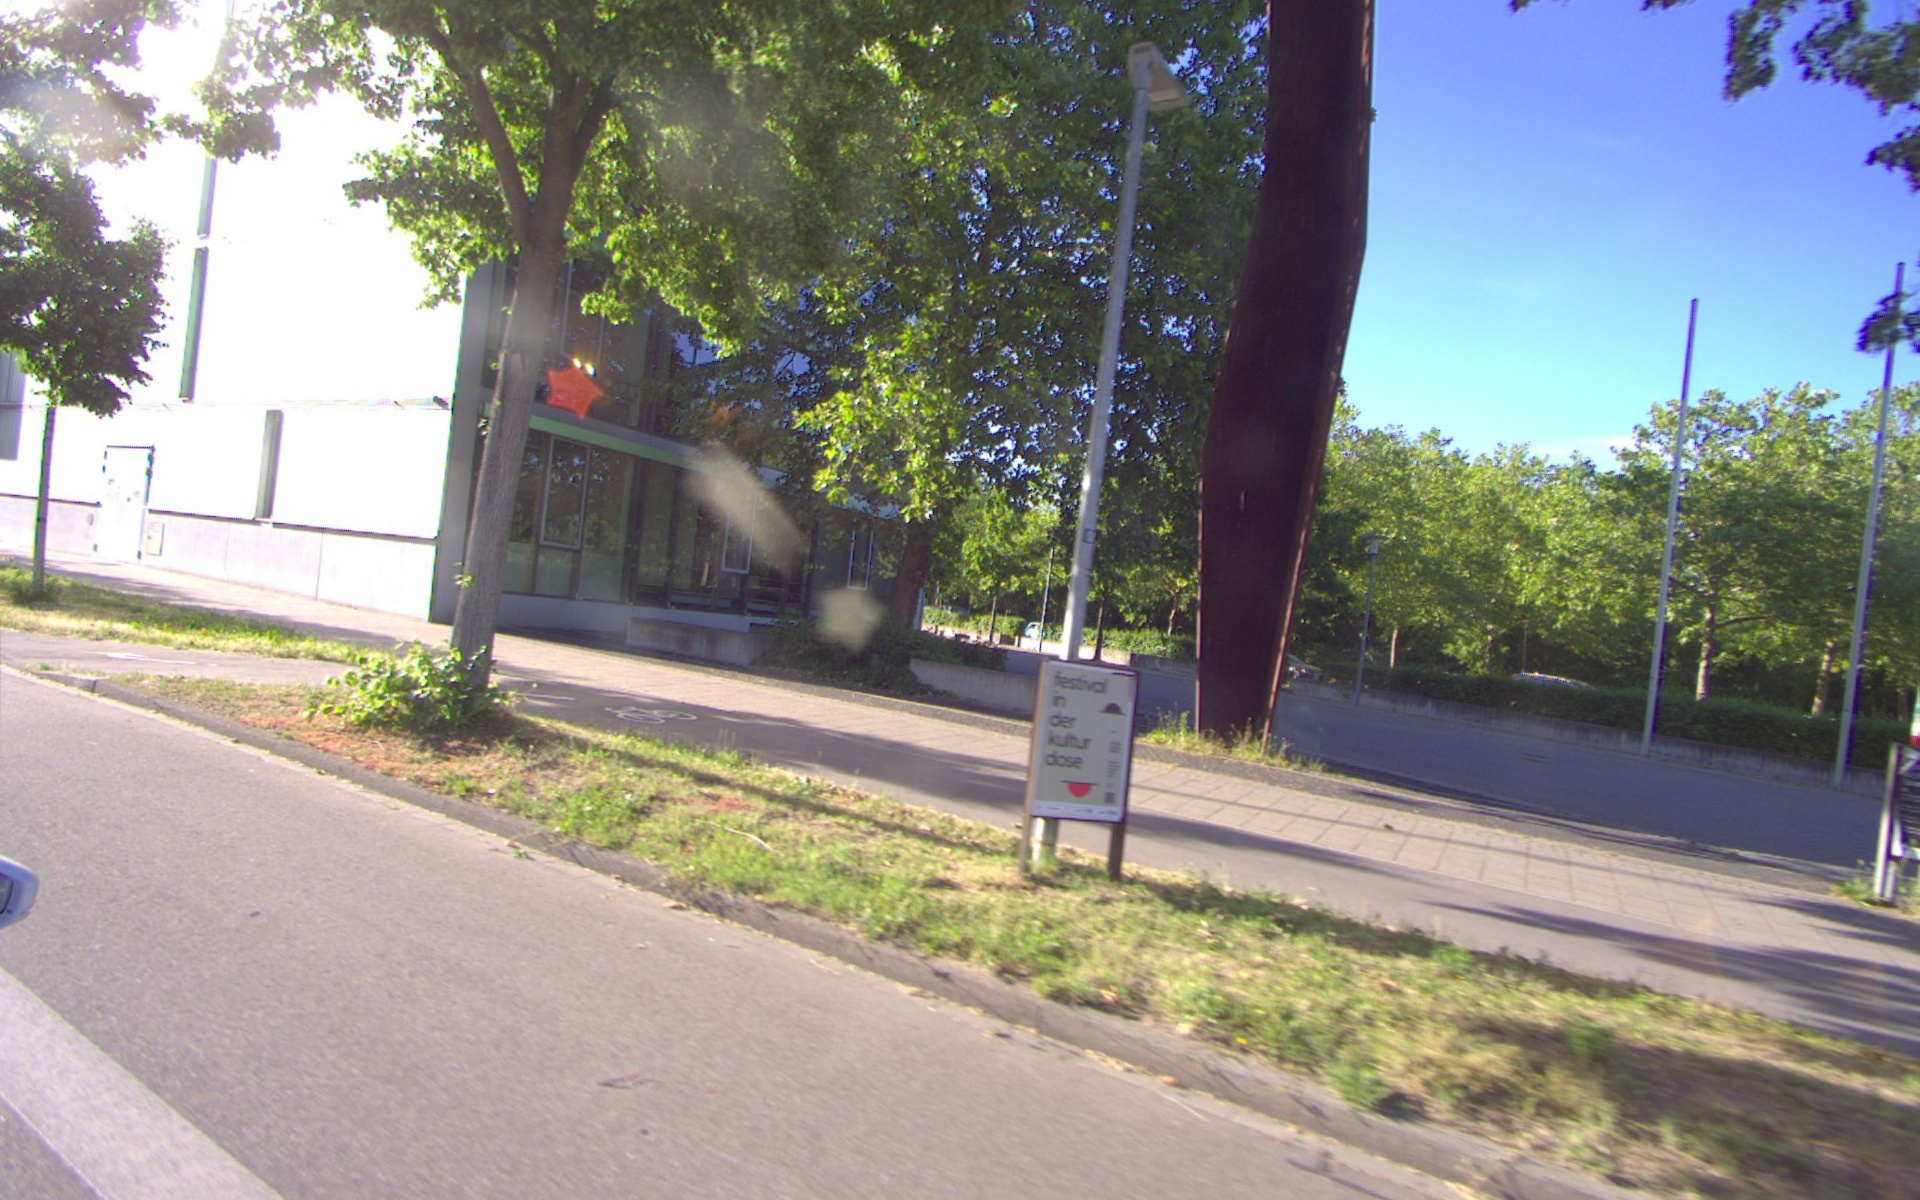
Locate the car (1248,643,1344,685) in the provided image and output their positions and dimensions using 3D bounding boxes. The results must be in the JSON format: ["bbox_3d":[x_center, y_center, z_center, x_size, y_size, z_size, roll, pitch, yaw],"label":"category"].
[{"bbox_3d":[16.417,3.111,49.283,1.982,1.482,3.964,9,-1,-34],"label":"car"}]

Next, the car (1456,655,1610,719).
[{"bbox_3d":[19.310,2.907,34.056,1.979,1.482,3.969,9,-1,-30],"label":"car"}]
